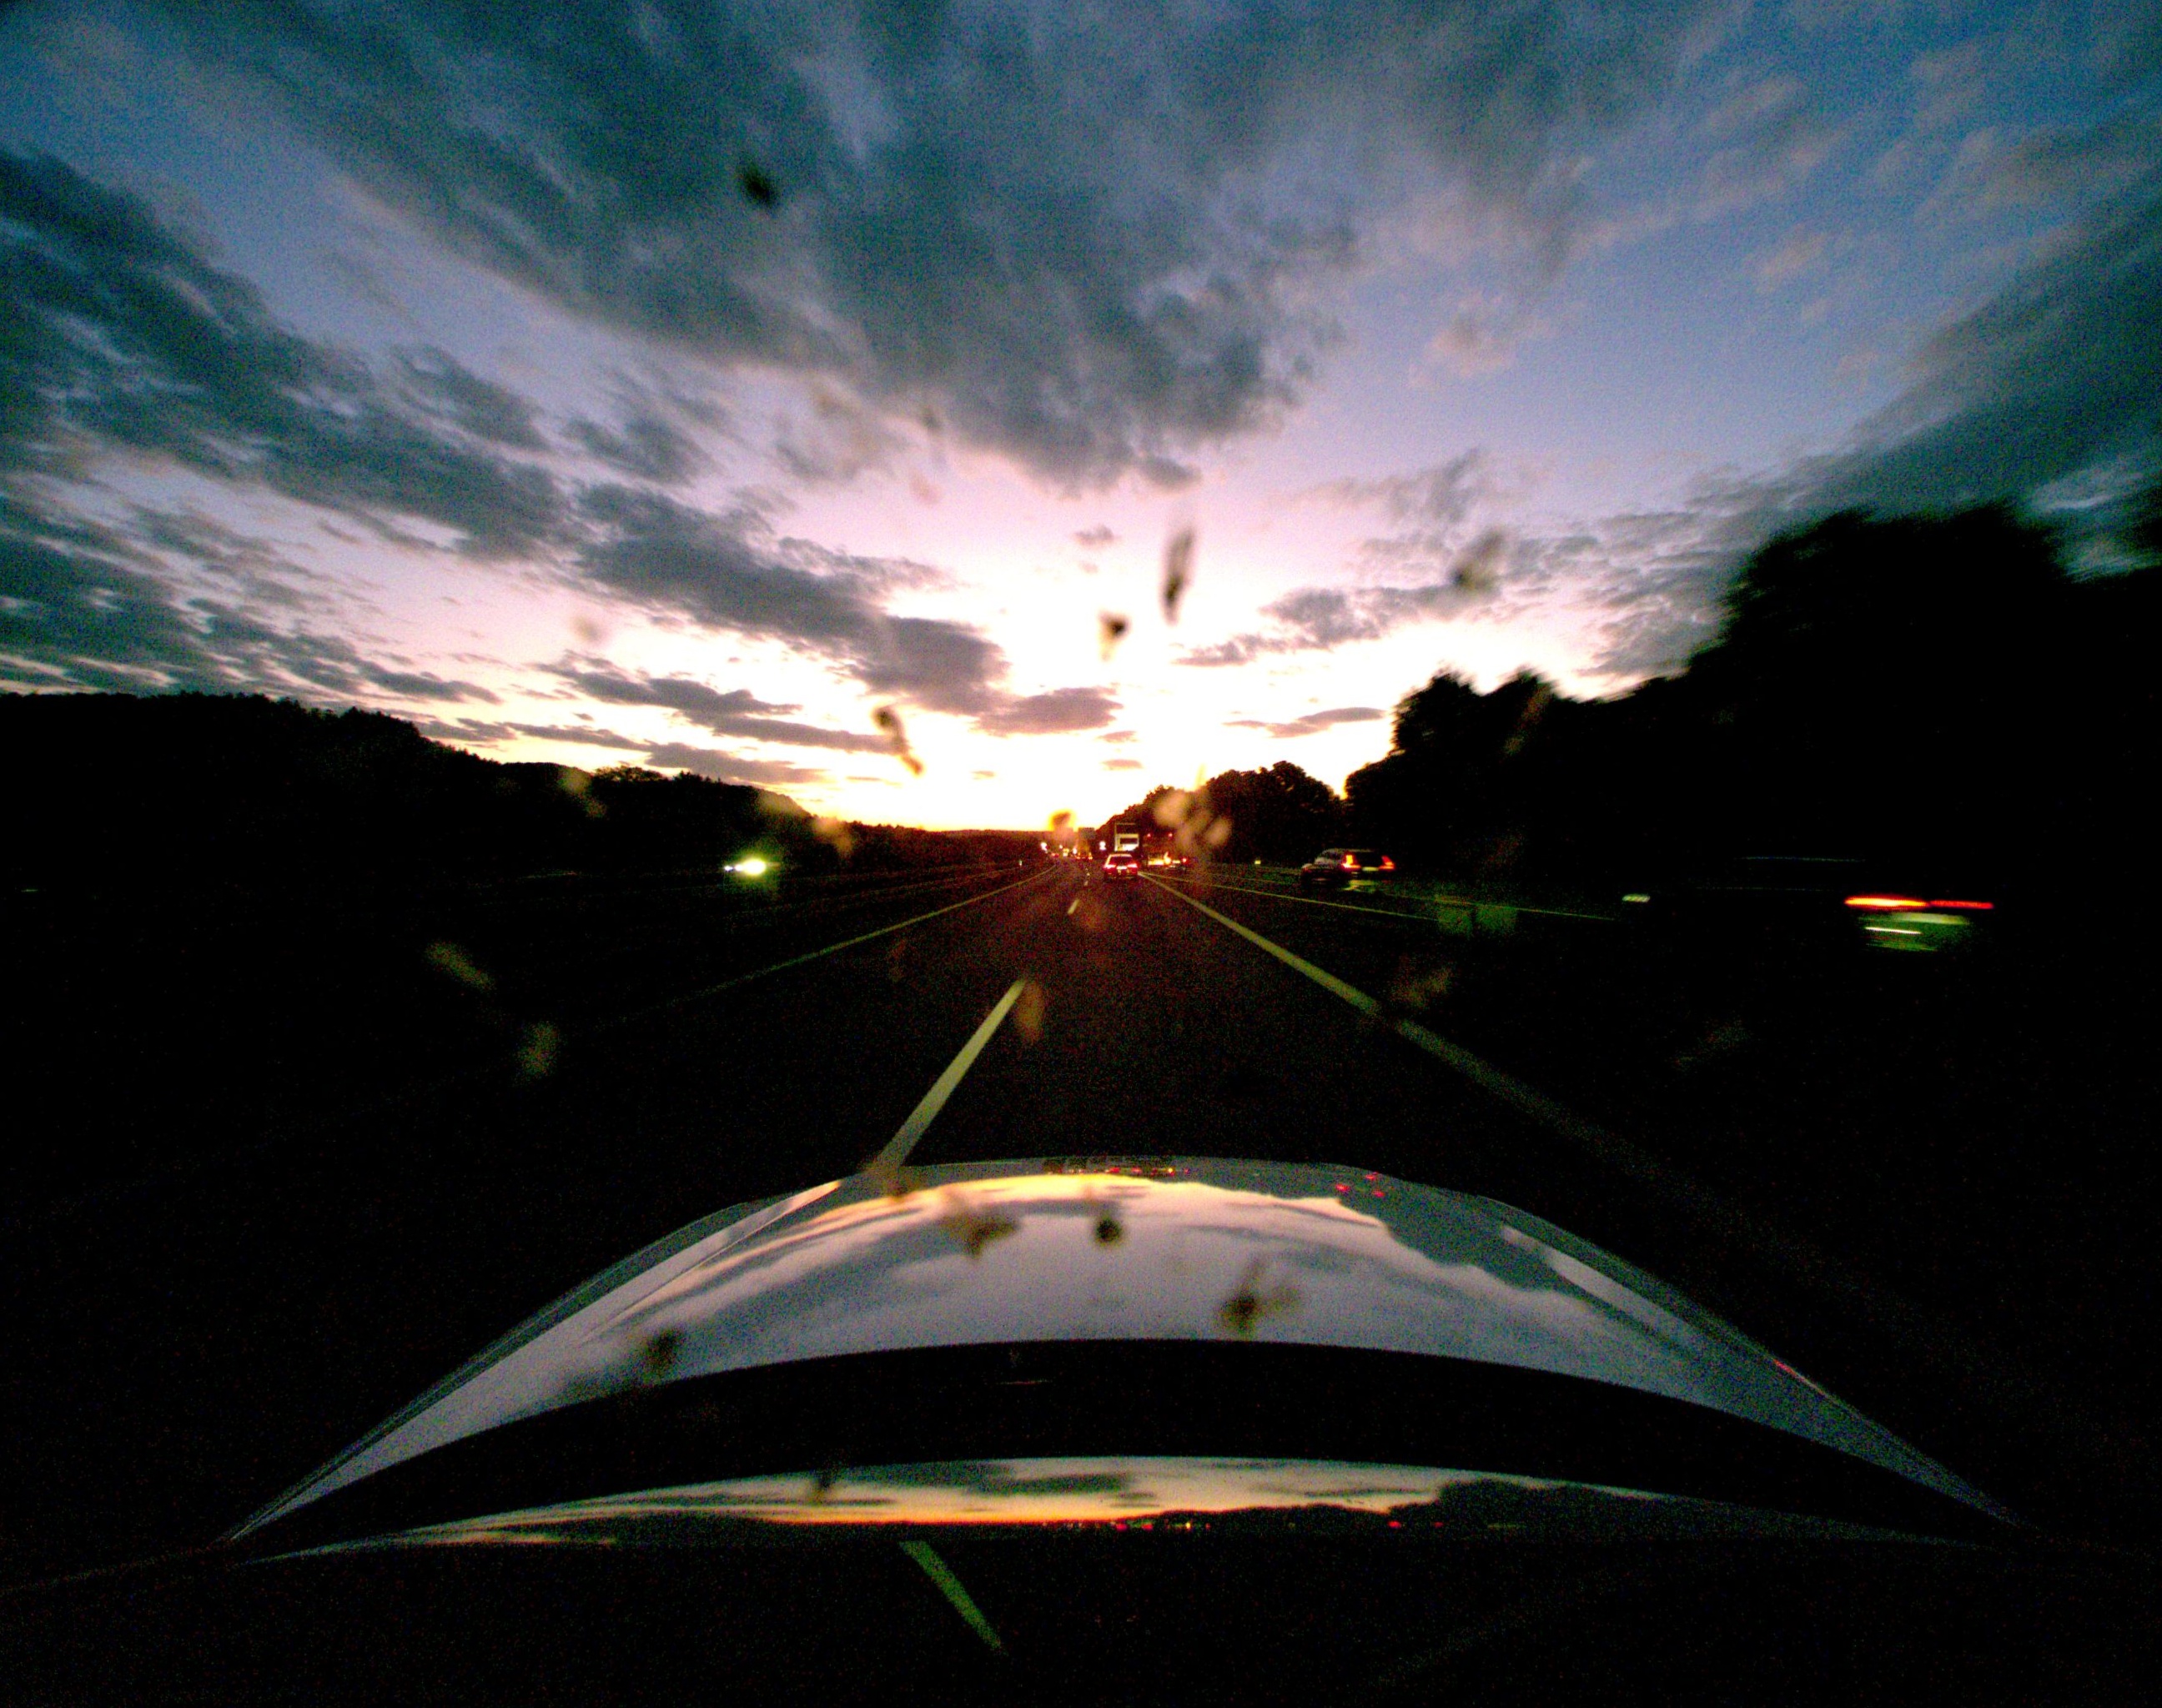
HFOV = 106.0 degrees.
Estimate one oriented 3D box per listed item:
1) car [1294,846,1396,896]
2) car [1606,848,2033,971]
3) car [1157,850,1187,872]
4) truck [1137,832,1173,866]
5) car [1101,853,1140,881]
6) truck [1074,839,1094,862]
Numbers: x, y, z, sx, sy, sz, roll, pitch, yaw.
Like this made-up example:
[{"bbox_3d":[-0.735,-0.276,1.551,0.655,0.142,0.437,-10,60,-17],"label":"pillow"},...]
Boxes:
[{"bbox_3d":[9.461,0.576,29.652,1.794,1.645,5.154,1,0,-3],"label":"car"},{"bbox_3d":[10.939,0.709,12.768,1.795,1.492,5.108,2,0,-5],"label":"car"},{"bbox_3d":[6.527,0.502,58.565,1.607,1.556,3.314,-1,0,-4],"label":"car"},{"bbox_3d":[6.650,-0.434,74.191,2.263,2.972,6.624,2,0,-3],"label":"truck"},{"bbox_3d":[2.135,0.707,44.733,1.909,1.442,3.999,-1,0,0],"label":"car"},{"bbox_3d":[0.511,-0.540,159.056,3.502,4.301,9.880,-1,0,-3],"label":"truck"}]
